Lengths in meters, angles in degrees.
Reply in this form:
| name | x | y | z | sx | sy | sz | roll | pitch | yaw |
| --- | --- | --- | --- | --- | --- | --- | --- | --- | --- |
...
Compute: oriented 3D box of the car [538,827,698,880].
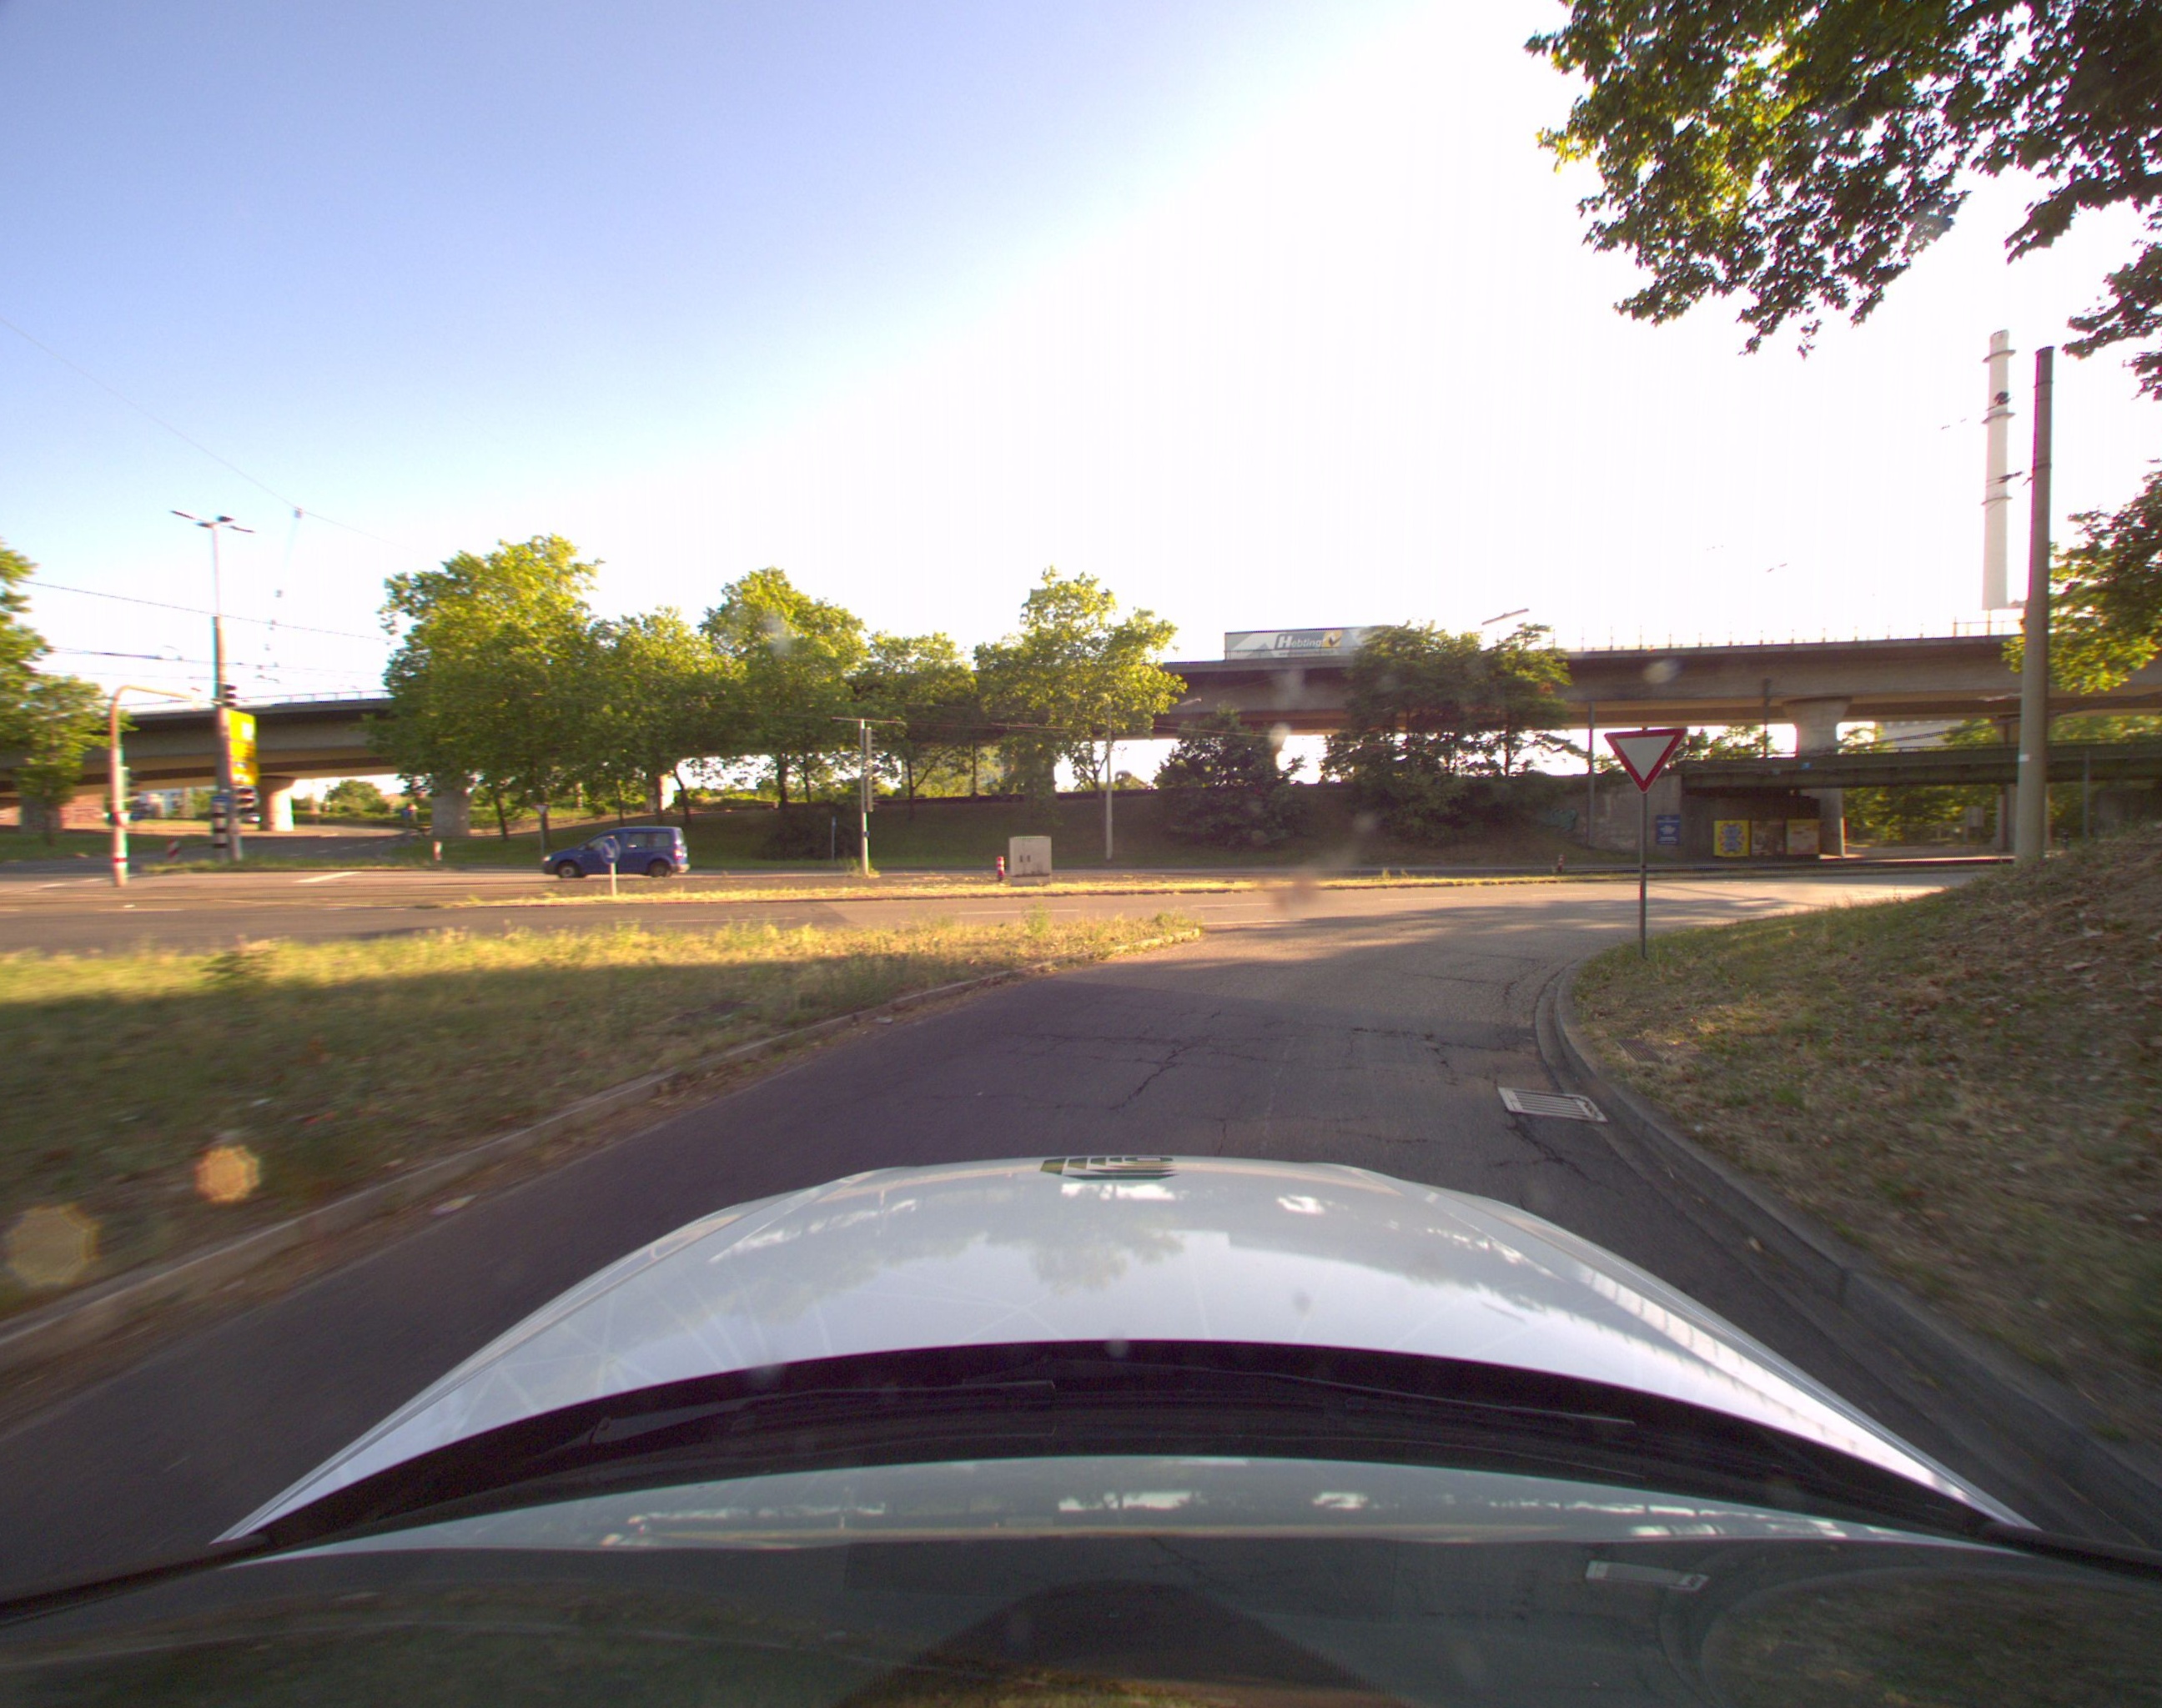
| name | x | y | z | sx | sy | sz | roll | pitch | yaw |
| --- | --- | --- | --- | --- | --- | --- | --- | --- | --- |
| car | -15.724 | -0.037 | 27.944 | 4.522 | 1.692 | 1.985 | 0 | 1 | -23 |
